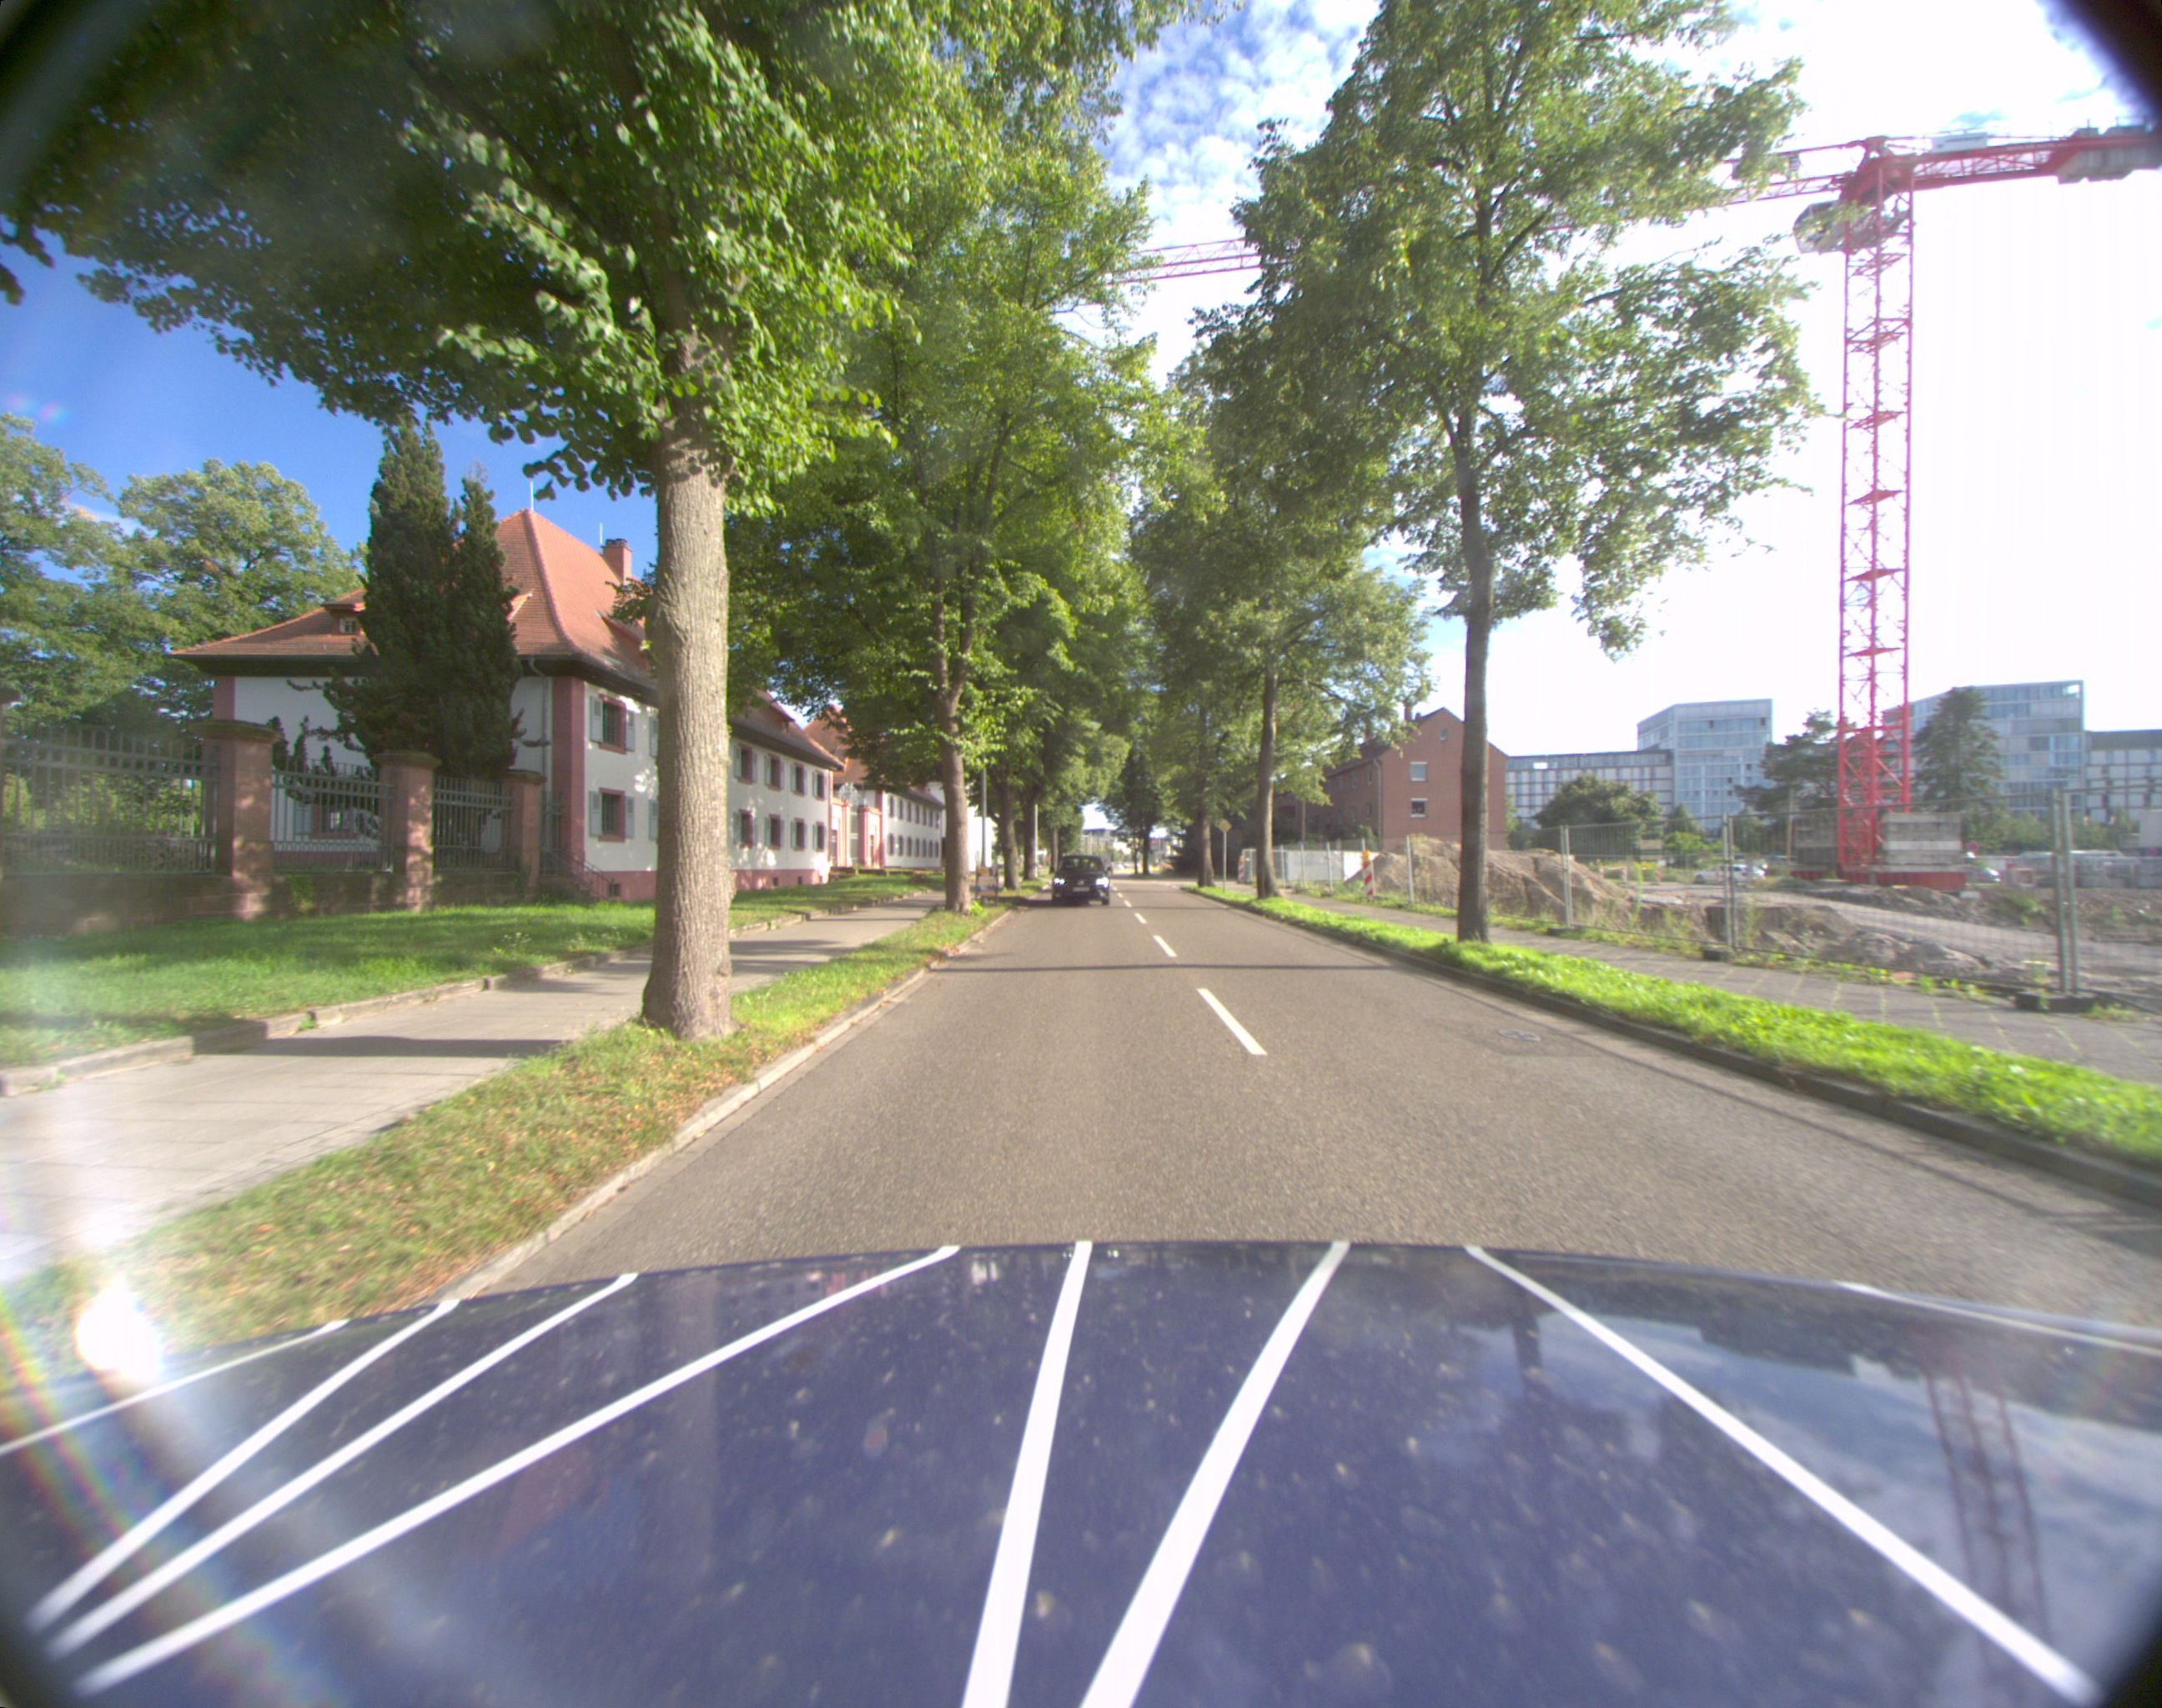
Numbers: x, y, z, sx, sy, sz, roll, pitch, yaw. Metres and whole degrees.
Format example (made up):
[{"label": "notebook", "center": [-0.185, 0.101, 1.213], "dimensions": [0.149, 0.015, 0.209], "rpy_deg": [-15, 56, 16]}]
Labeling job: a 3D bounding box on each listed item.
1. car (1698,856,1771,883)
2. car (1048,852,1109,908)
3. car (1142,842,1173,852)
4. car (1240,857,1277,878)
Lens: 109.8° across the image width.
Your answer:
[{"label": "car", "center": [48.282, 1.117, 56.246], "dimensions": [1.817, 1.797, 3.982], "rpy_deg": [-1, 2, -5]}, {"label": "car", "center": [-0.008, 0.813, 25.199], "dimensions": [1.821, 1.648, 4.244], "rpy_deg": [-1, -1, 2]}, {"label": "car", "center": [15.683, -1.498, 156.926], "dimensions": [2.483, 1.856, 6.235], "rpy_deg": [-2, 1, -43]}, {"label": "car", "center": [13.683, 1.029, 58.797], "dimensions": [1.998, 1.420, 4.508], "rpy_deg": [1, 1, 3]}]
